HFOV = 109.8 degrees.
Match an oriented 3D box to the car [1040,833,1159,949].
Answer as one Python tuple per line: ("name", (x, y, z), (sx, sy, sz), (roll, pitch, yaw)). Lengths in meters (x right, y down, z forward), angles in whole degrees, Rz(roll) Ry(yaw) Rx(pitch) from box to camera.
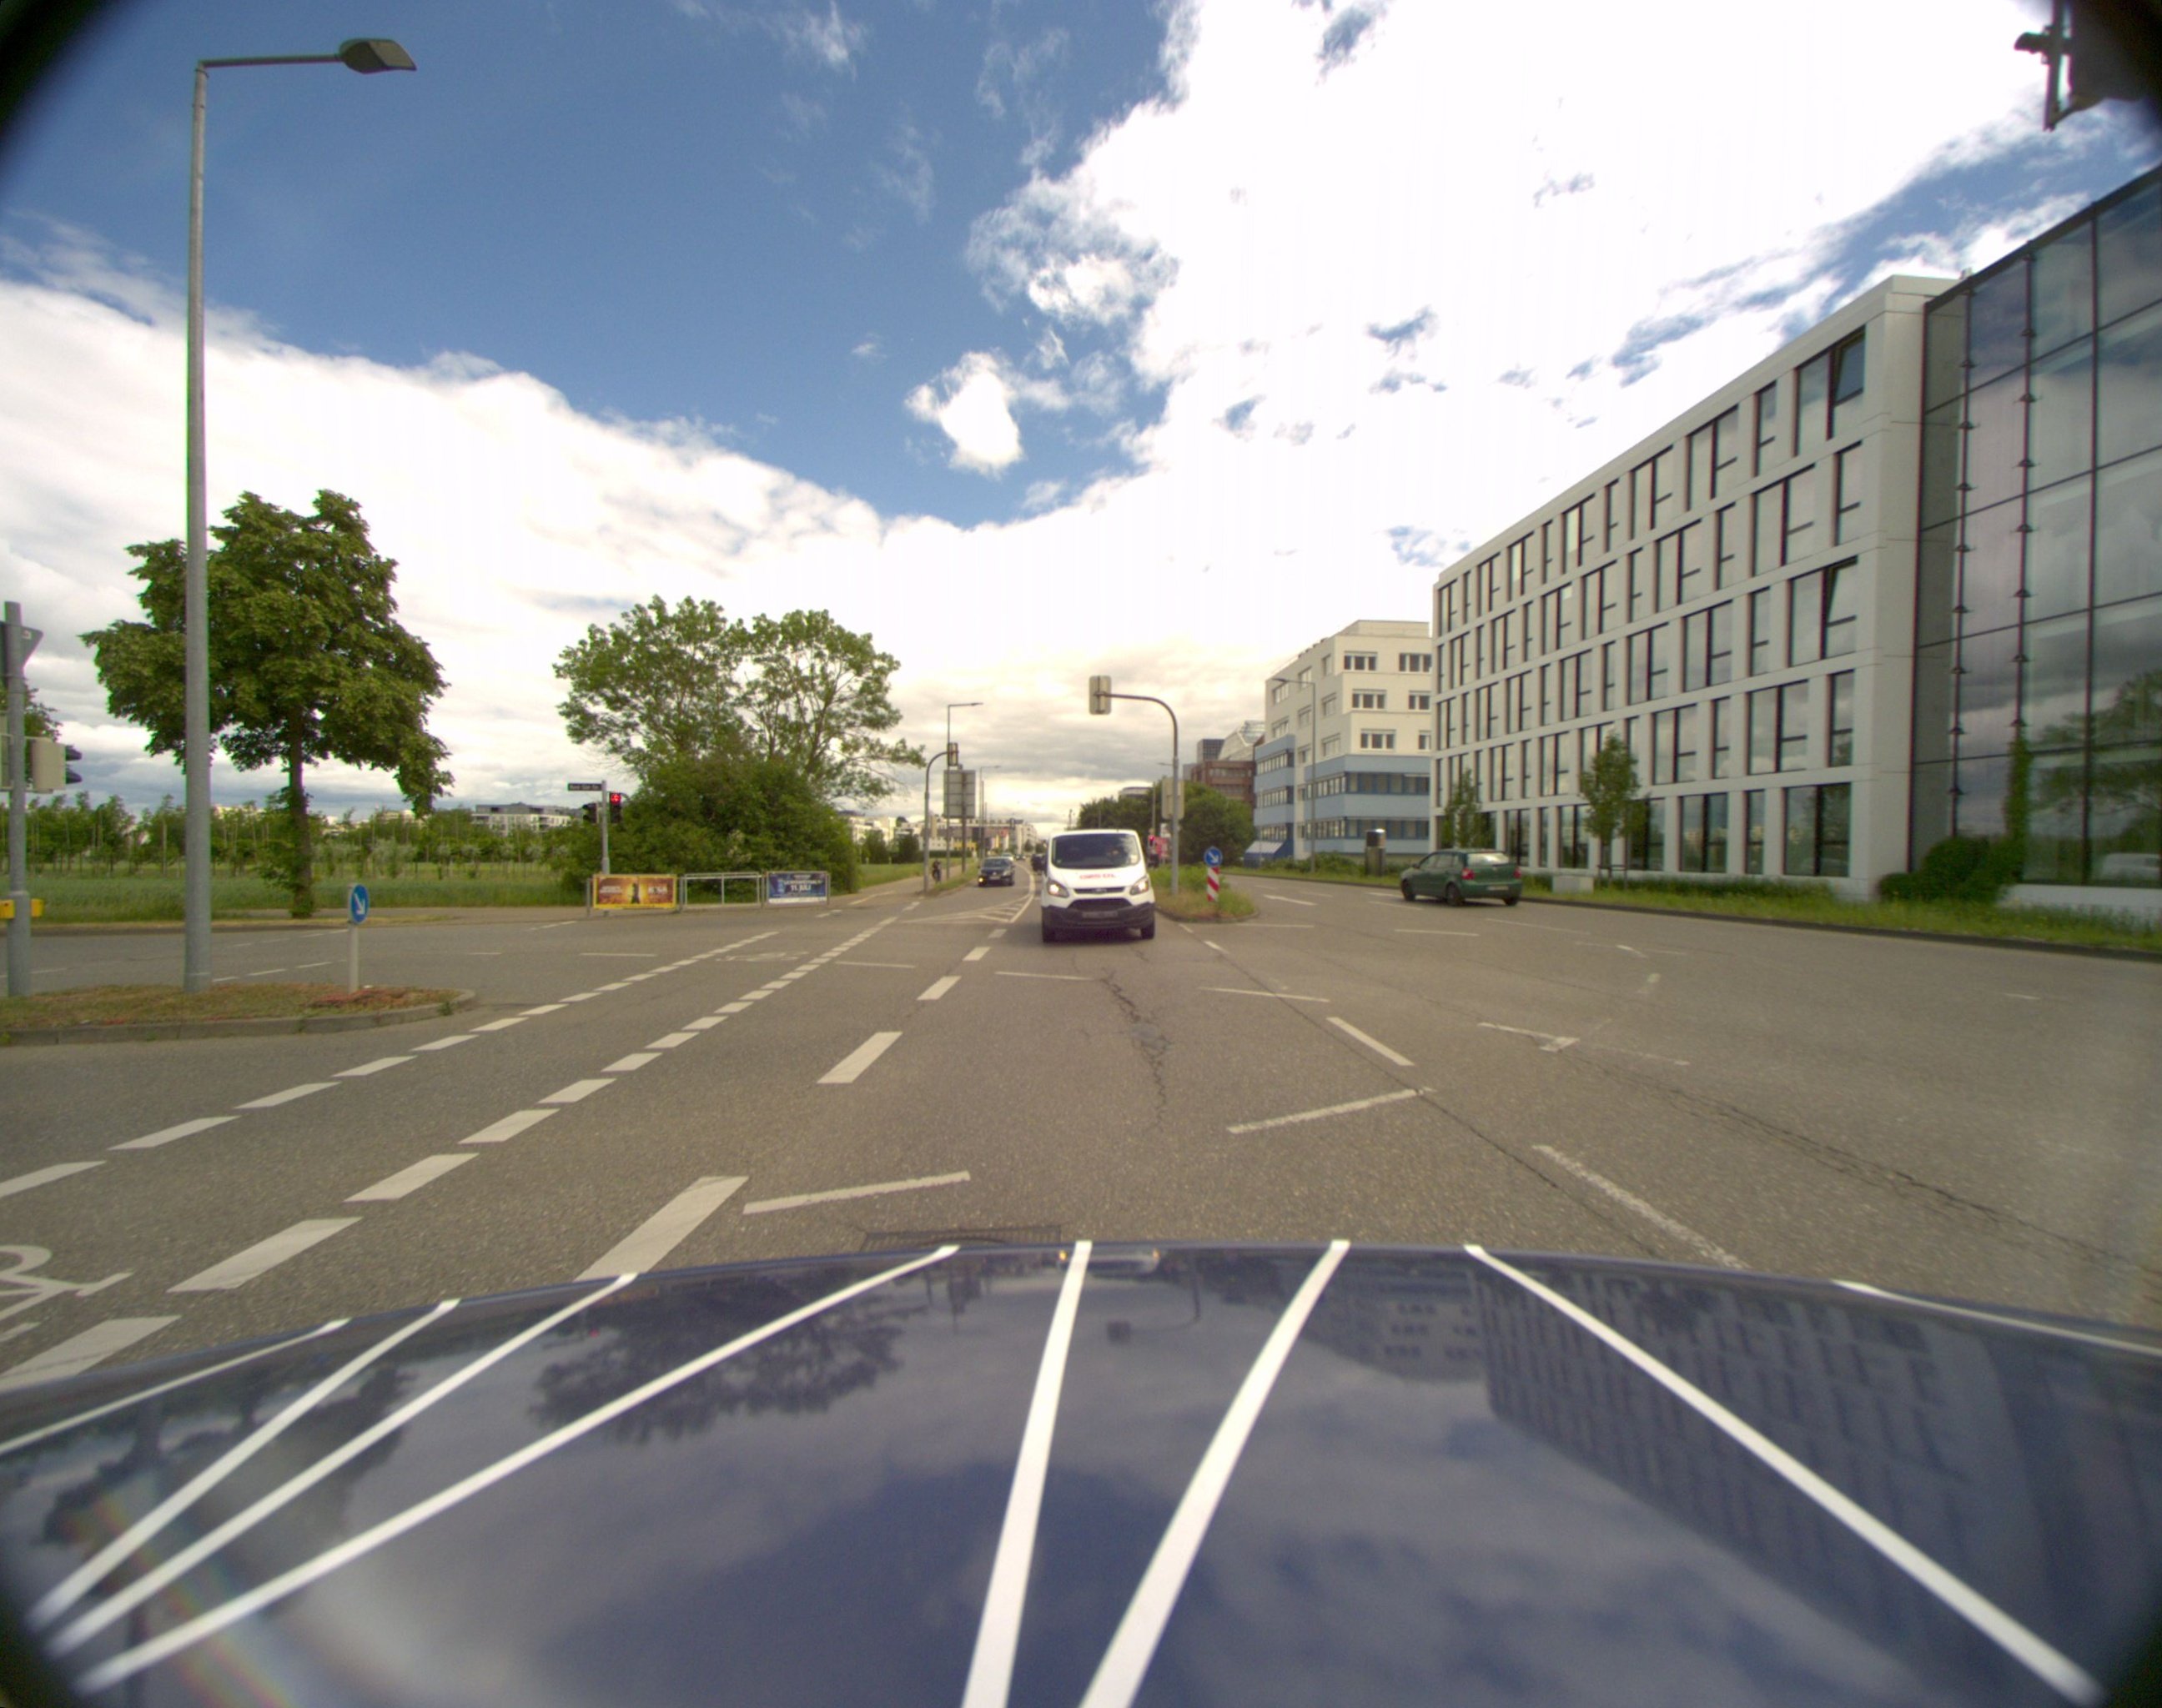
("car", (0.182, 0.612, 15.548), (1.968, 1.938, 5.053), (-1, 0, -4))

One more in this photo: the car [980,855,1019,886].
("car", (-4.005, 0.803, 37.892), (1.683, 1.410, 3.738), (-1, 1, -3))

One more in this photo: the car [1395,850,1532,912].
("car", (9.931, 0.641, 20.076), (1.610, 1.424, 3.751), (-2, 0, -2))

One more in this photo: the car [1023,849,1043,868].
("car", (-4.375, 0.395, 68.464), (1.628, 1.528, 3.428), (-2, 1, -6))

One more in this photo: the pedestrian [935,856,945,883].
("pedestrian", (-9.190, 1.006, 49.619), (0.492, 1.693, 0.625), (-2, 2, -5))

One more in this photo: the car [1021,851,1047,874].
("car", (-3.427, 0.570, 55.060), (1.653, 1.528, 3.428), (-2, 1, -6))

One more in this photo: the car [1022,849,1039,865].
("car", (-5.149, 0.278, 77.037), (1.628, 1.528, 3.428), (-2, 1, -6))
